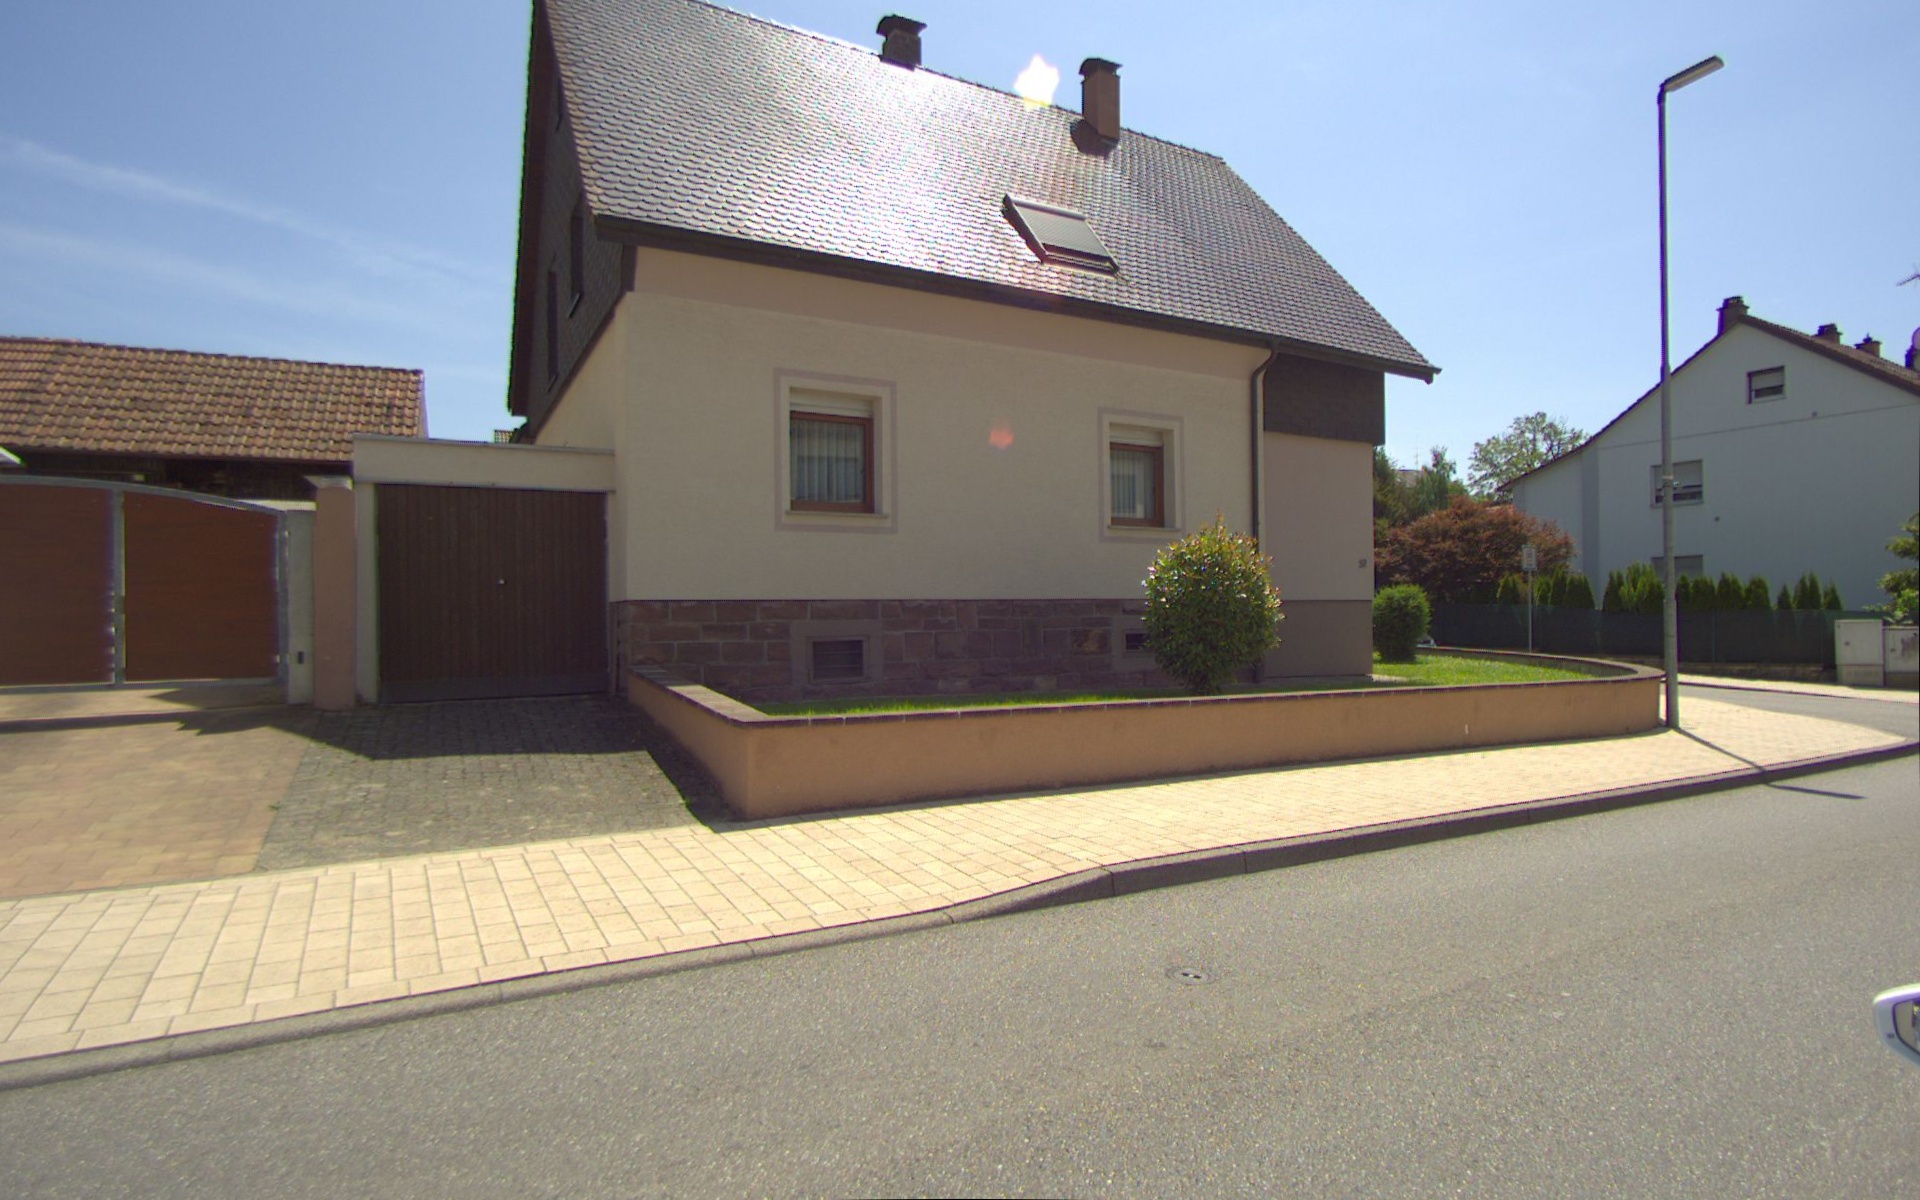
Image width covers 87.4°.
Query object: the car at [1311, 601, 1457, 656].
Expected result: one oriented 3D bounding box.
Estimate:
[{"bbox_3d":[12.349,0.797,29.487,1.728,1.435,3.730,1,0,-26],"label":"car"}]
